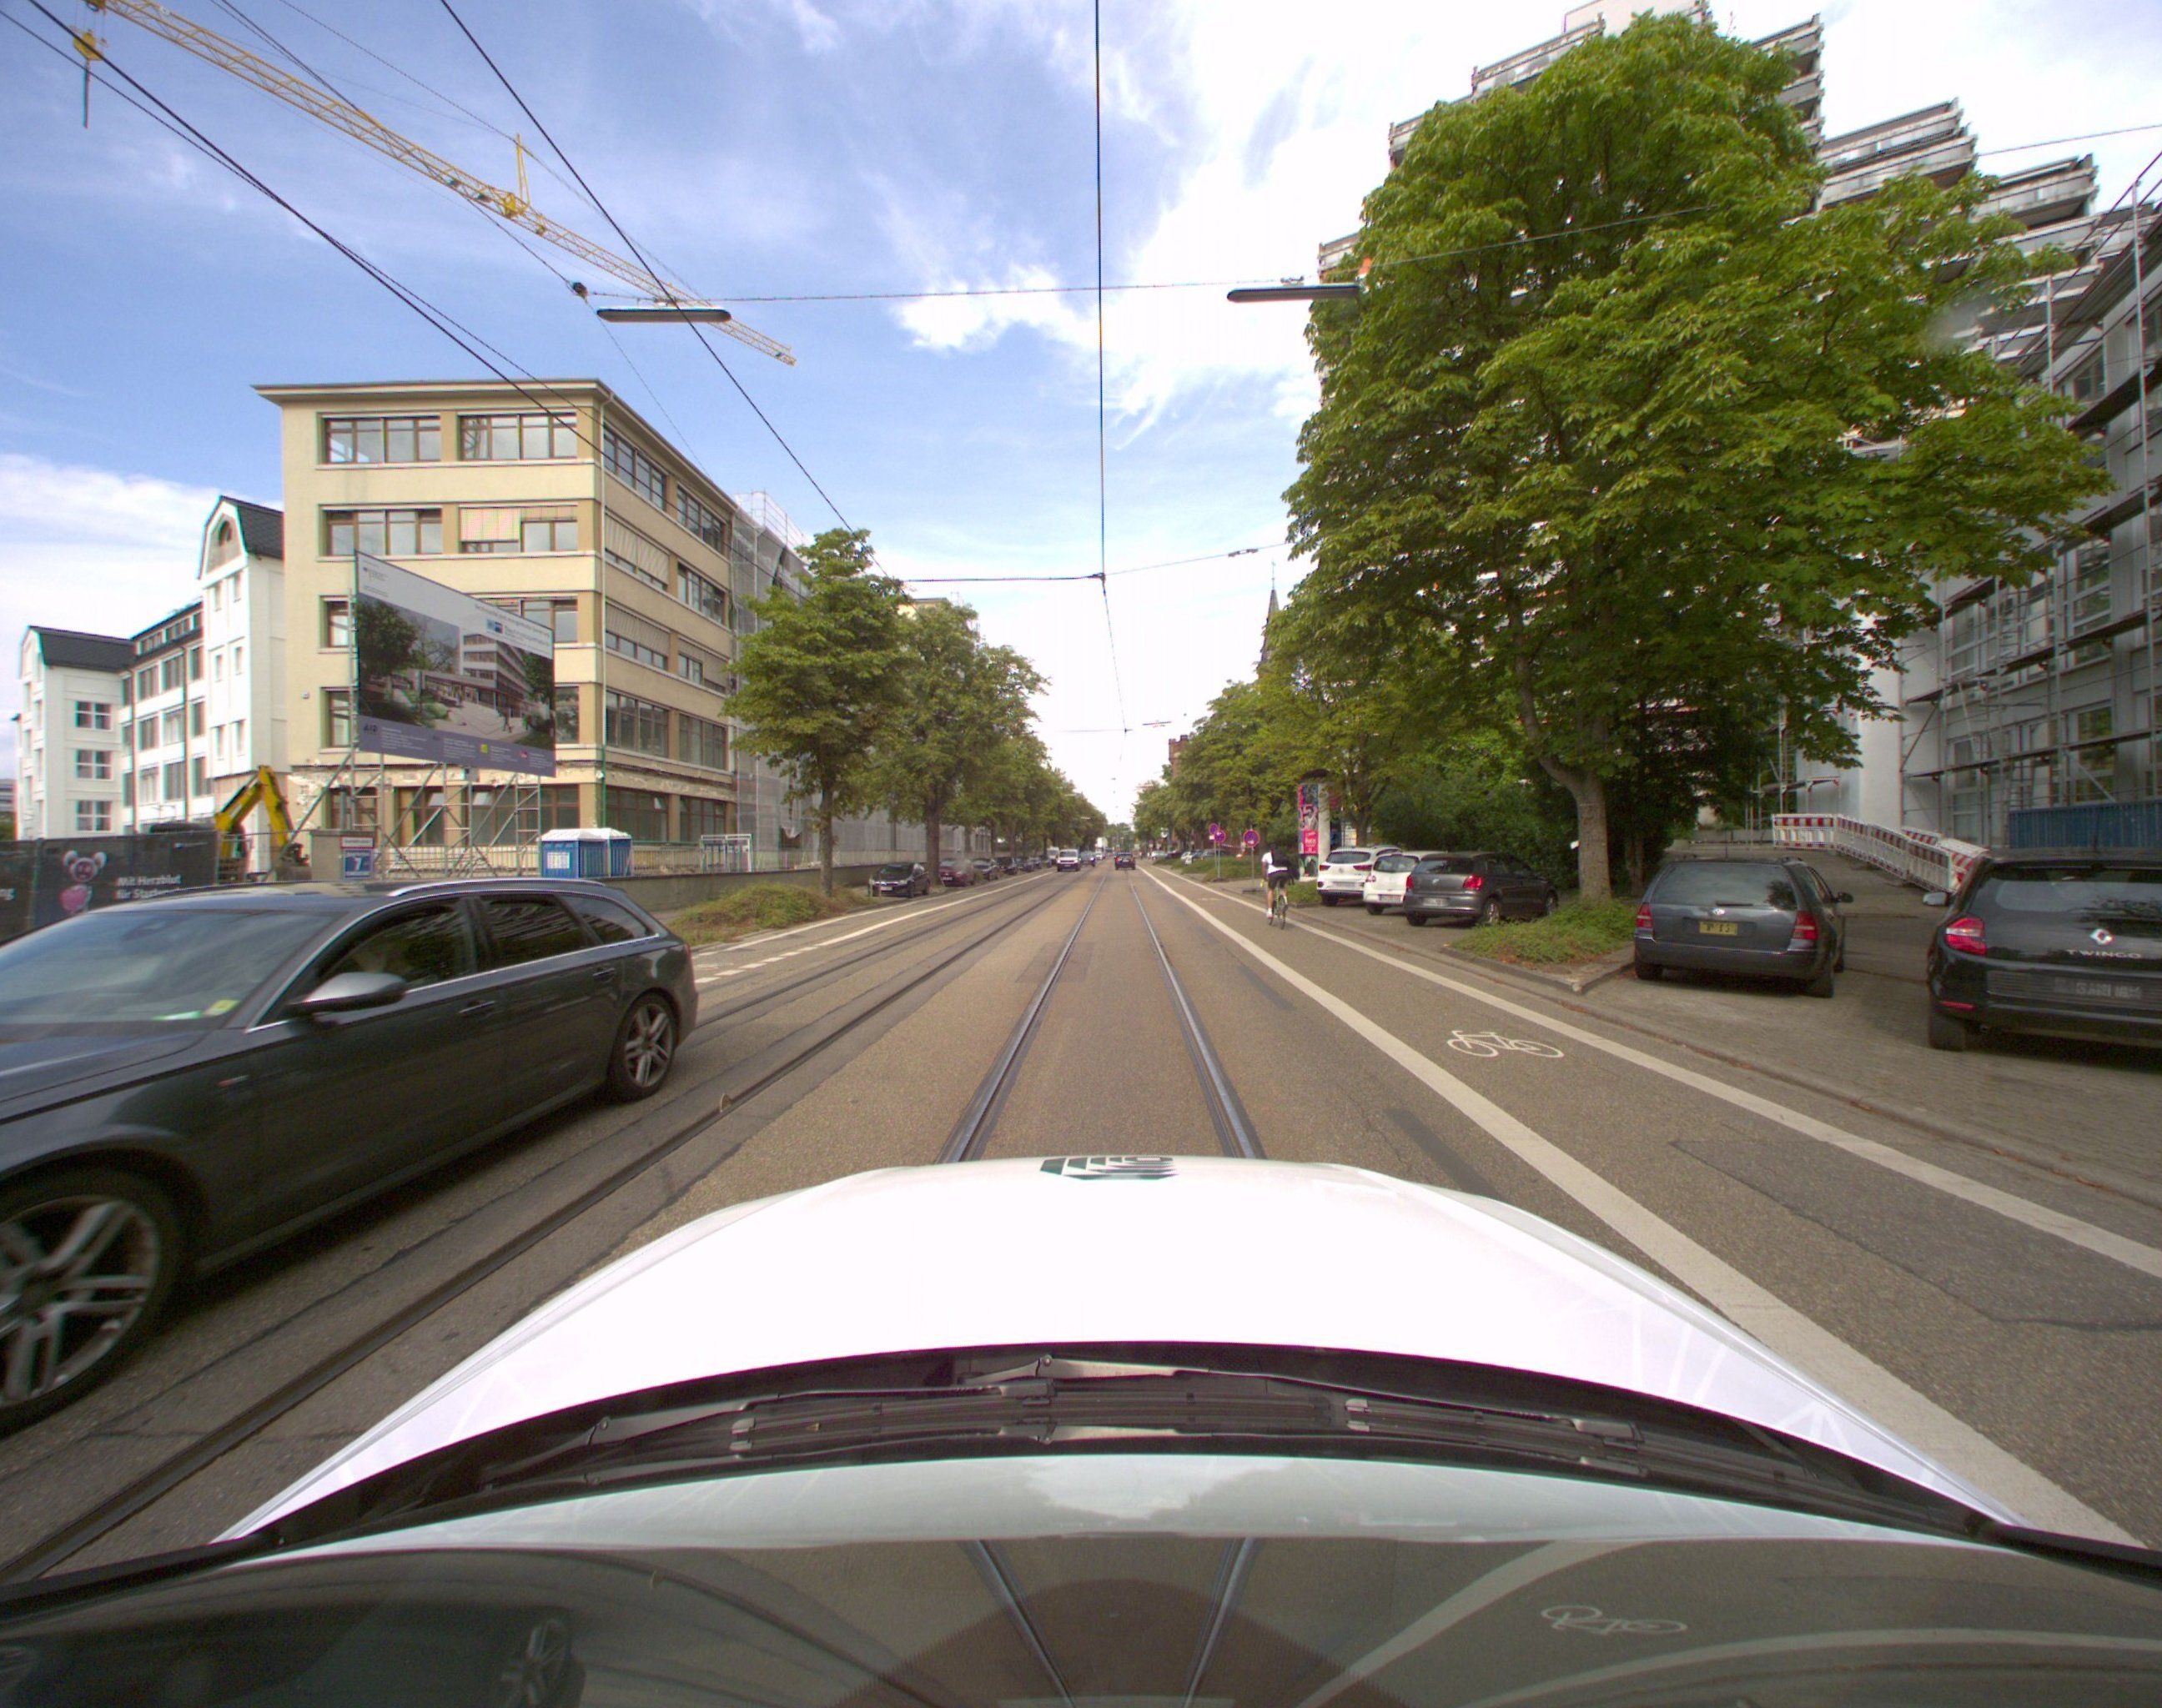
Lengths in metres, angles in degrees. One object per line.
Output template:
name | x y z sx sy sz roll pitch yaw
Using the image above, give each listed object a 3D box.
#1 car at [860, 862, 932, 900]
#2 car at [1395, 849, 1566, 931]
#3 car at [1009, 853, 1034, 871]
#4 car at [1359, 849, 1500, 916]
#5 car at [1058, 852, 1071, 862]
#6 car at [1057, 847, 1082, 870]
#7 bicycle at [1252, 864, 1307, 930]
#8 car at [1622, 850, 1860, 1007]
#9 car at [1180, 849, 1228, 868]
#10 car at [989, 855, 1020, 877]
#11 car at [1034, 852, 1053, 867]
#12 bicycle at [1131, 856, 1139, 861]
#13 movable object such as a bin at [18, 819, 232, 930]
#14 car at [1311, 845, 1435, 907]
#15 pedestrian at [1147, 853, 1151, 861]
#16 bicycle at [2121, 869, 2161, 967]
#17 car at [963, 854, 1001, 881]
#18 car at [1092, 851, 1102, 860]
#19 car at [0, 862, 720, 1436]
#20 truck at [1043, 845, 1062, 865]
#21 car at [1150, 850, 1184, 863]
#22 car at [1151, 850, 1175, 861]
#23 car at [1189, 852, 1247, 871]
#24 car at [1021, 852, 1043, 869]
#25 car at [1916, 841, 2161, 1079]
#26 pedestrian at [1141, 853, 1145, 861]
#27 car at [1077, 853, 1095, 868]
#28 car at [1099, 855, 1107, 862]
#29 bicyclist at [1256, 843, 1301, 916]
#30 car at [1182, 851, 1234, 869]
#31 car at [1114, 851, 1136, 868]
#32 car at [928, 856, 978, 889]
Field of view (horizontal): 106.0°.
car | -7.368 1.043 32.806 1.795 1.374 4.033 -2 0 2
car | 7.990 0.628 16.212 3.551 1.442 1.606 -1 0 -37
car | -5.275 0.707 73.018 1.795 1.583 4.033 -2 0 2
car | 8.273 0.609 19.257 3.463 1.442 1.543 -1 0 -37
car | -2.654 0.430 132.084 1.795 1.583 4.033 -2 0 2
car | -0.931 0.401 68.389 1.795 1.823 4.486 -2 0 2
bicycle | 4.066 0.844 16.841 0.655 1.249 2.125 0 0 1
car | 7.760 0.691 9.455 3.760 1.458 1.620 0 0 -43
car | 11.023 0.381 73.247 3.975 1.627 1.884 -1 0 -1
car | -5.865 0.880 62.789 1.795 1.583 4.033 -2 0 2
car | -4.274 0.605 93.374 1.795 1.583 4.033 -2 0 2
bicycle | 11.072 1.000 167.157 1.709 0.991 0.660 0 0 11
movable object such as a bin | -18.977 0.394 16.270 1.977 2.067 1.963 -1 0 4
car | 8.063 0.560 22.367 3.463 1.573 1.543 -1 0 -37
pedestrian | 13.847 0.686 166.897 0.721 1.646 0.769 0 0 12
bicycle | 13.610 0.729 9.353 1.947 1.128 0.542 -3 -1 32
car | -6.270 0.834 52.057 1.795 1.583 4.033 -2 0 2
car | 3.126 0.337 154.480 1.795 1.622 4.486 -2 0 2
car | -3.691 0.801 3.809 1.828 1.448 4.555 -1 0 2
truck | -3.666 0.116 106.439 2.063 2.470 4.901 -2 0 2
car | 10.423 0.294 98.927 3.975 1.508 1.884 -1 0 -1
car | 14.561 0.209 145.029 3.975 1.910 1.999 0 0 -1
car | 10.224 0.550 60.953 3.975 1.425 1.884 -1 0 -1
car | -4.898 0.665 82.032 1.795 1.583 4.033 -2 0 2
car | 8.084 0.676 6.683 3.760 1.522 1.620 0 0 -43
pedestrian | 12.663 0.683 167.024 0.721 1.646 0.769 0 0 12
car | 0.596 0.679 89.456 1.795 1.622 4.486 -2 0 2
car | 5.330 1.053 193.681 1.795 1.622 4.486 -2 0 2
bicyclist | 4.068 0.503 16.833 0.655 1.463 1.179 0 0 1
car | 10.545 0.512 67.852 3.975 1.425 1.884 -1 0 -1
car | 3.780 0.438 70.569 1.786 1.423 4.002 0 0 2
car | -6.723 0.958 43.190 1.795 1.583 4.033 -2 0 2
